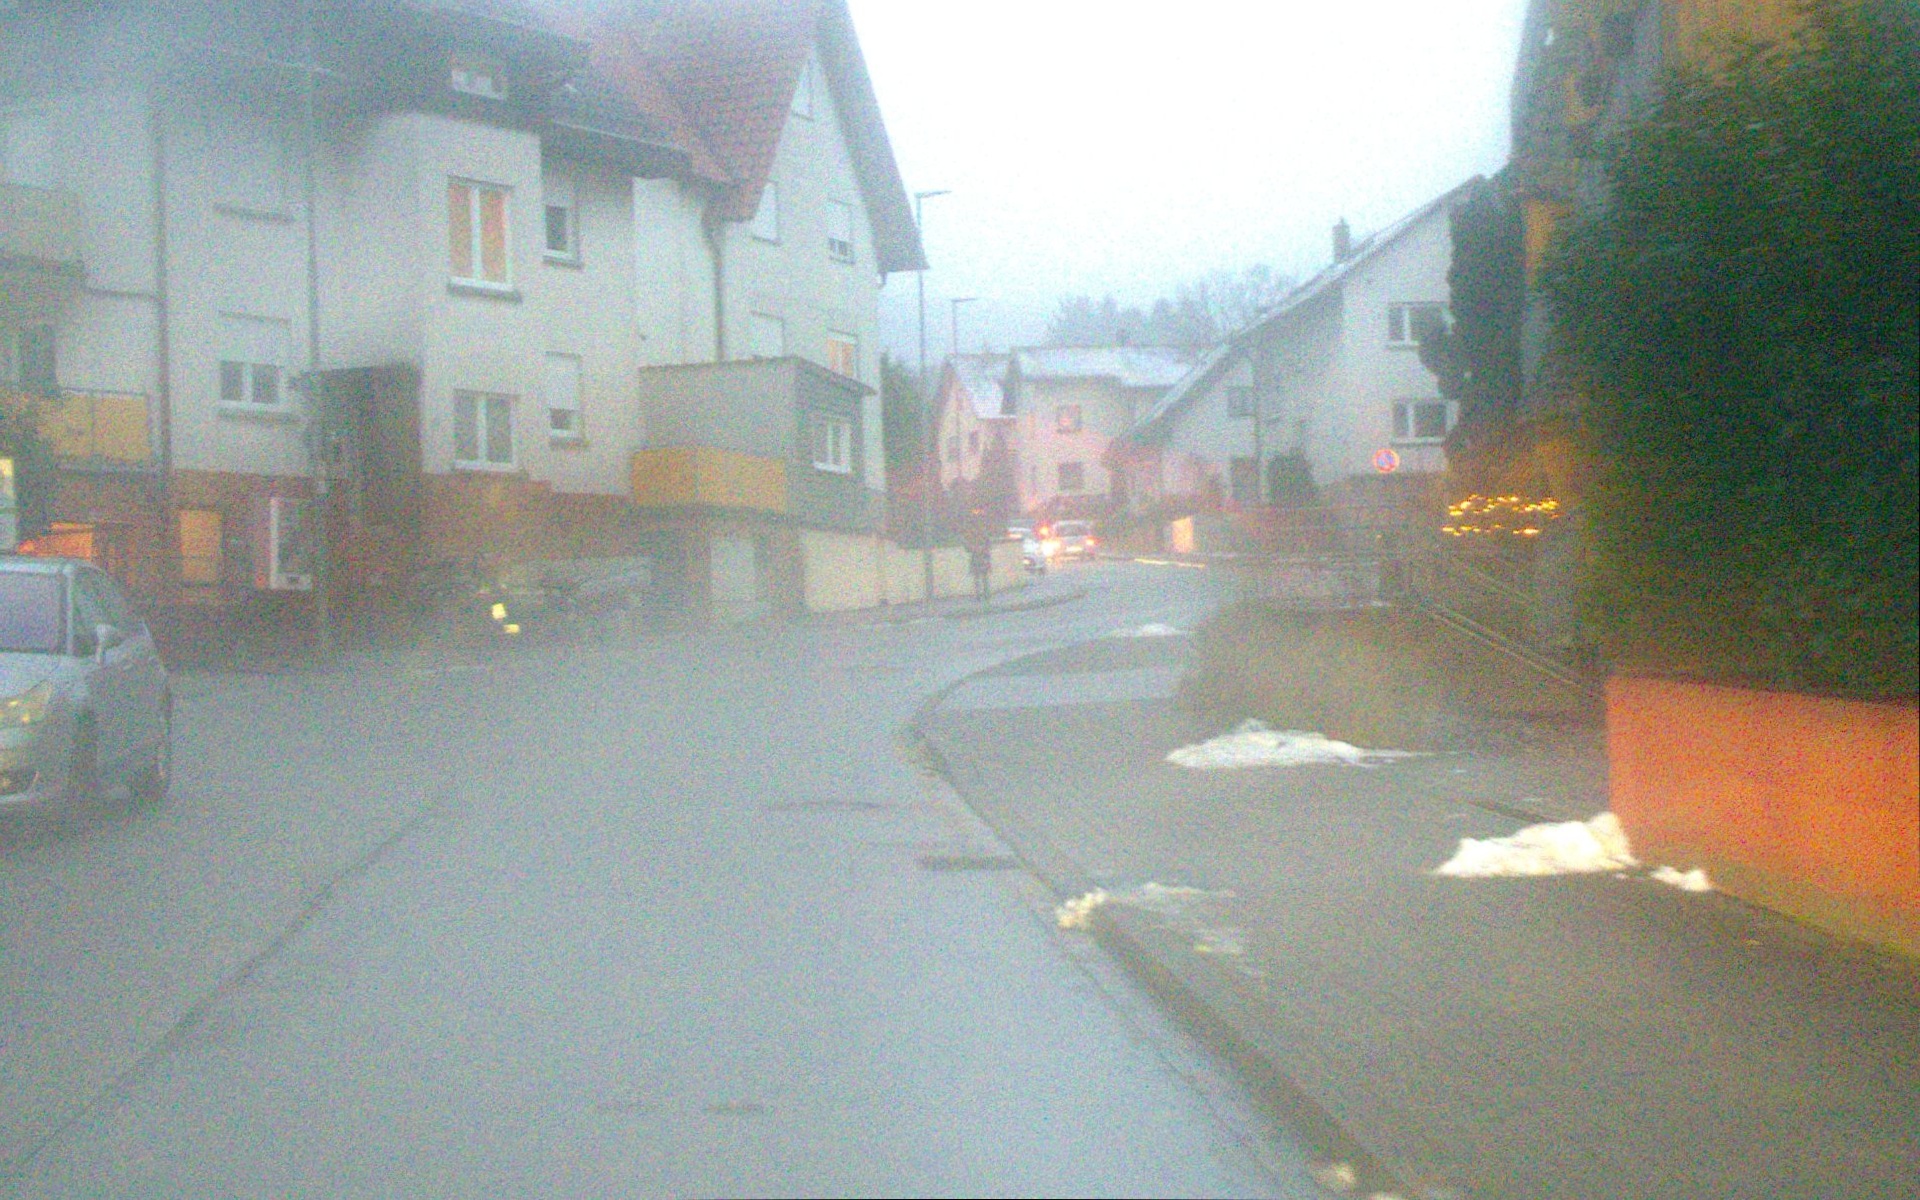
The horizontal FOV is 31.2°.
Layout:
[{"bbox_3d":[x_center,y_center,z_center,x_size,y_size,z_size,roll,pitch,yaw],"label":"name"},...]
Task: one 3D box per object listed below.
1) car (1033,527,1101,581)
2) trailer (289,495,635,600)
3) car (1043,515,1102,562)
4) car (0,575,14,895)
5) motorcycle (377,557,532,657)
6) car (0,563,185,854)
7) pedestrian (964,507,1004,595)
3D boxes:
[{"bbox_3d":[4.381,-1.889,139.730,2.111,2.020,4.981,-3,1,9],"label":"car"},{"bbox_3d":[-7.023,-0.782,48.973,2.063,1.164,4.859,2,5,36],"label":"trailer"},{"bbox_3d":[4.124,-2.239,125.684,1.994,1.612,3.999,1,0,4],"label":"car"},{"bbox_3d":[-5.088,0.649,13.639,1.823,1.436,4.068,0,1,-4],"label":"car"},{"bbox_3d":[-6.819,0.072,46.293,1.054,1.294,2.238,-1,1,-40],"label":"motorcycle"},{"bbox_3d":[-5.437,0.513,18.829,1.748,1.384,4.147,0,1,-5],"label":"car"},{"bbox_3d":[0.472,-0.966,68.049,0.598,1.727,0.811,0,0,16],"label":"pedestrian"}]
